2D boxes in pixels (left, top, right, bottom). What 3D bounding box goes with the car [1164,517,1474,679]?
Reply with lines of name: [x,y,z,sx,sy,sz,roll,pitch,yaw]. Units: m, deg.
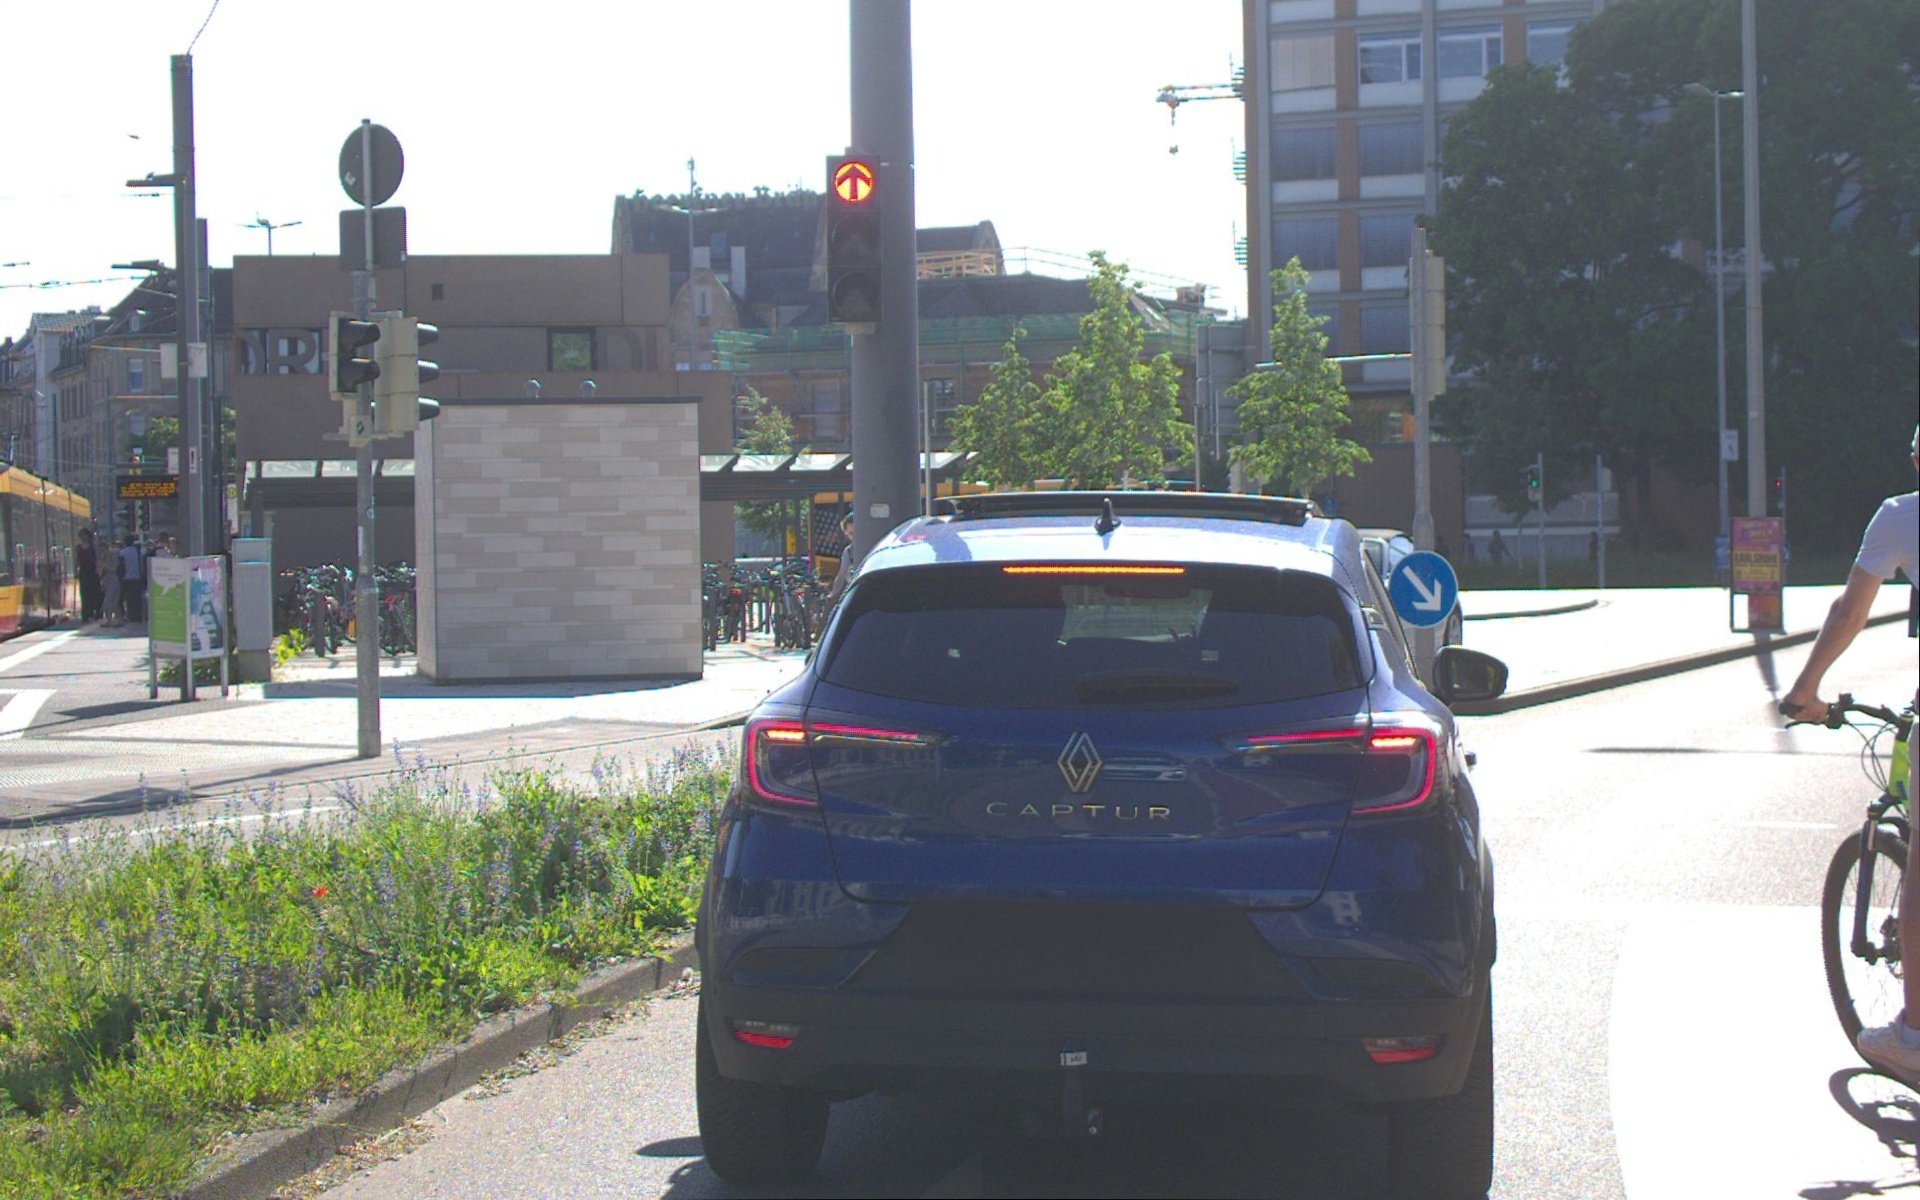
car: [3.436,-0.055,32.253,1.802,1.388,4.088,-1,1,22]

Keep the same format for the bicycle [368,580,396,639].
bicycle: [-9.300,0.146,55.317,0.421,0.934,1.379,1,1,-9]

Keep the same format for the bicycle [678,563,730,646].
bicycle: [-3.363,0.059,45.092,0.580,1.054,1.817,0,0,-7]

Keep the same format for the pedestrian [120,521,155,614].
pedestrian: [-16.542,-0.653,69.162,0.632,1.850,0.703,0,0,-17]

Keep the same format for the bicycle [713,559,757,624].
bicycle: [-3.842,-0.147,58.628,0.580,1.084,1.872,0,0,-9]

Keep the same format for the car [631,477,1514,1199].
car: [0.451,0.515,8.948,1.824,1.594,3.658,1,1,7]

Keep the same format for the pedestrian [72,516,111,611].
pedestrian: [-17.577,-0.729,69.576,0.740,1.911,0.742,0,0,-12]

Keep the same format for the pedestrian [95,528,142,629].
pedestrian: [-15.794,-0.399,64.538,0.847,1.877,0.761,0,0,-13]

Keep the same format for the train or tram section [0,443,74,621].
train or tram section: [-20.367,-1.396,72.415,2.870,3.496,10.546,0,1,-12]

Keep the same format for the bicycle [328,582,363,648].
bicycle: [-8.990,0.212,50.280,0.421,0.934,1.306,1,1,-13]

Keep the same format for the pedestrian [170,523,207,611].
pedestrian: [-16.786,-0.714,74.791,0.739,1.911,0.743,0,0,-14]

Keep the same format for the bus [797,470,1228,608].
bus: [1.187,-1.511,89.853,12.436,3.384,2.875,0,0,42]

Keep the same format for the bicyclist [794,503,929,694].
bicyclist: [-0.862,-0.016,30.381,0.880,1.639,1.059,-1,0,16]

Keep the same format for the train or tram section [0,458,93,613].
train or tram section: [-22.550,-1.537,82.704,2.870,3.496,10.546,0,1,-12]

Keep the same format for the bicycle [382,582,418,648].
bicycle: [-8.240,0.216,50.585,0.421,0.934,1.306,1,1,-13]

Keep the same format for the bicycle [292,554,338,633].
bicycle: [-9.103,-0.089,48.560,0.565,1.090,2.030,0,0,-9]

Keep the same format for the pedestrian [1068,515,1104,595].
pedestrian: [2.925,-1.034,79.804,0.726,1.850,0.702,0,0,10]

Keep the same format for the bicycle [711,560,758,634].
bicycle: [-3.360,-0.041,51.131,0.580,1.084,2.059,0,0,-7]

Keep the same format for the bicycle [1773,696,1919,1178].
bicycle: [2.540,0.815,8.969,0.663,1.043,1.890,0,1,9]

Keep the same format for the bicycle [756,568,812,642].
bicycle: [-2.333,0.065,45.429,0.580,0.958,2.059,0,0,-7]

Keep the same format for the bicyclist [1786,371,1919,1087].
bicyclist: [2.511,0.304,8.840,0.664,1.741,1.005,0,1,9]

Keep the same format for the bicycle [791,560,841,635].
bicycle: [-2.148,-0.035,51.157,0.580,1.084,2.059,0,0,-7]

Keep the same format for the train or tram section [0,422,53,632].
train or tram section: [-18.137,-1.270,62.124,2.870,3.496,10.546,0,1,-12]

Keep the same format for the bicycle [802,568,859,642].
bicycle: [-1.718,0.068,45.493,0.580,0.958,2.059,0,0,-7]

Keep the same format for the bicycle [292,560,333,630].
bicycle: [-10.339,-0.081,54.920,0.565,1.090,2.030,0,0,-9]

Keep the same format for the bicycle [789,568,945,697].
bicycle: [-0.799,0.271,30.376,0.774,1.077,2.034,-1,0,16]
